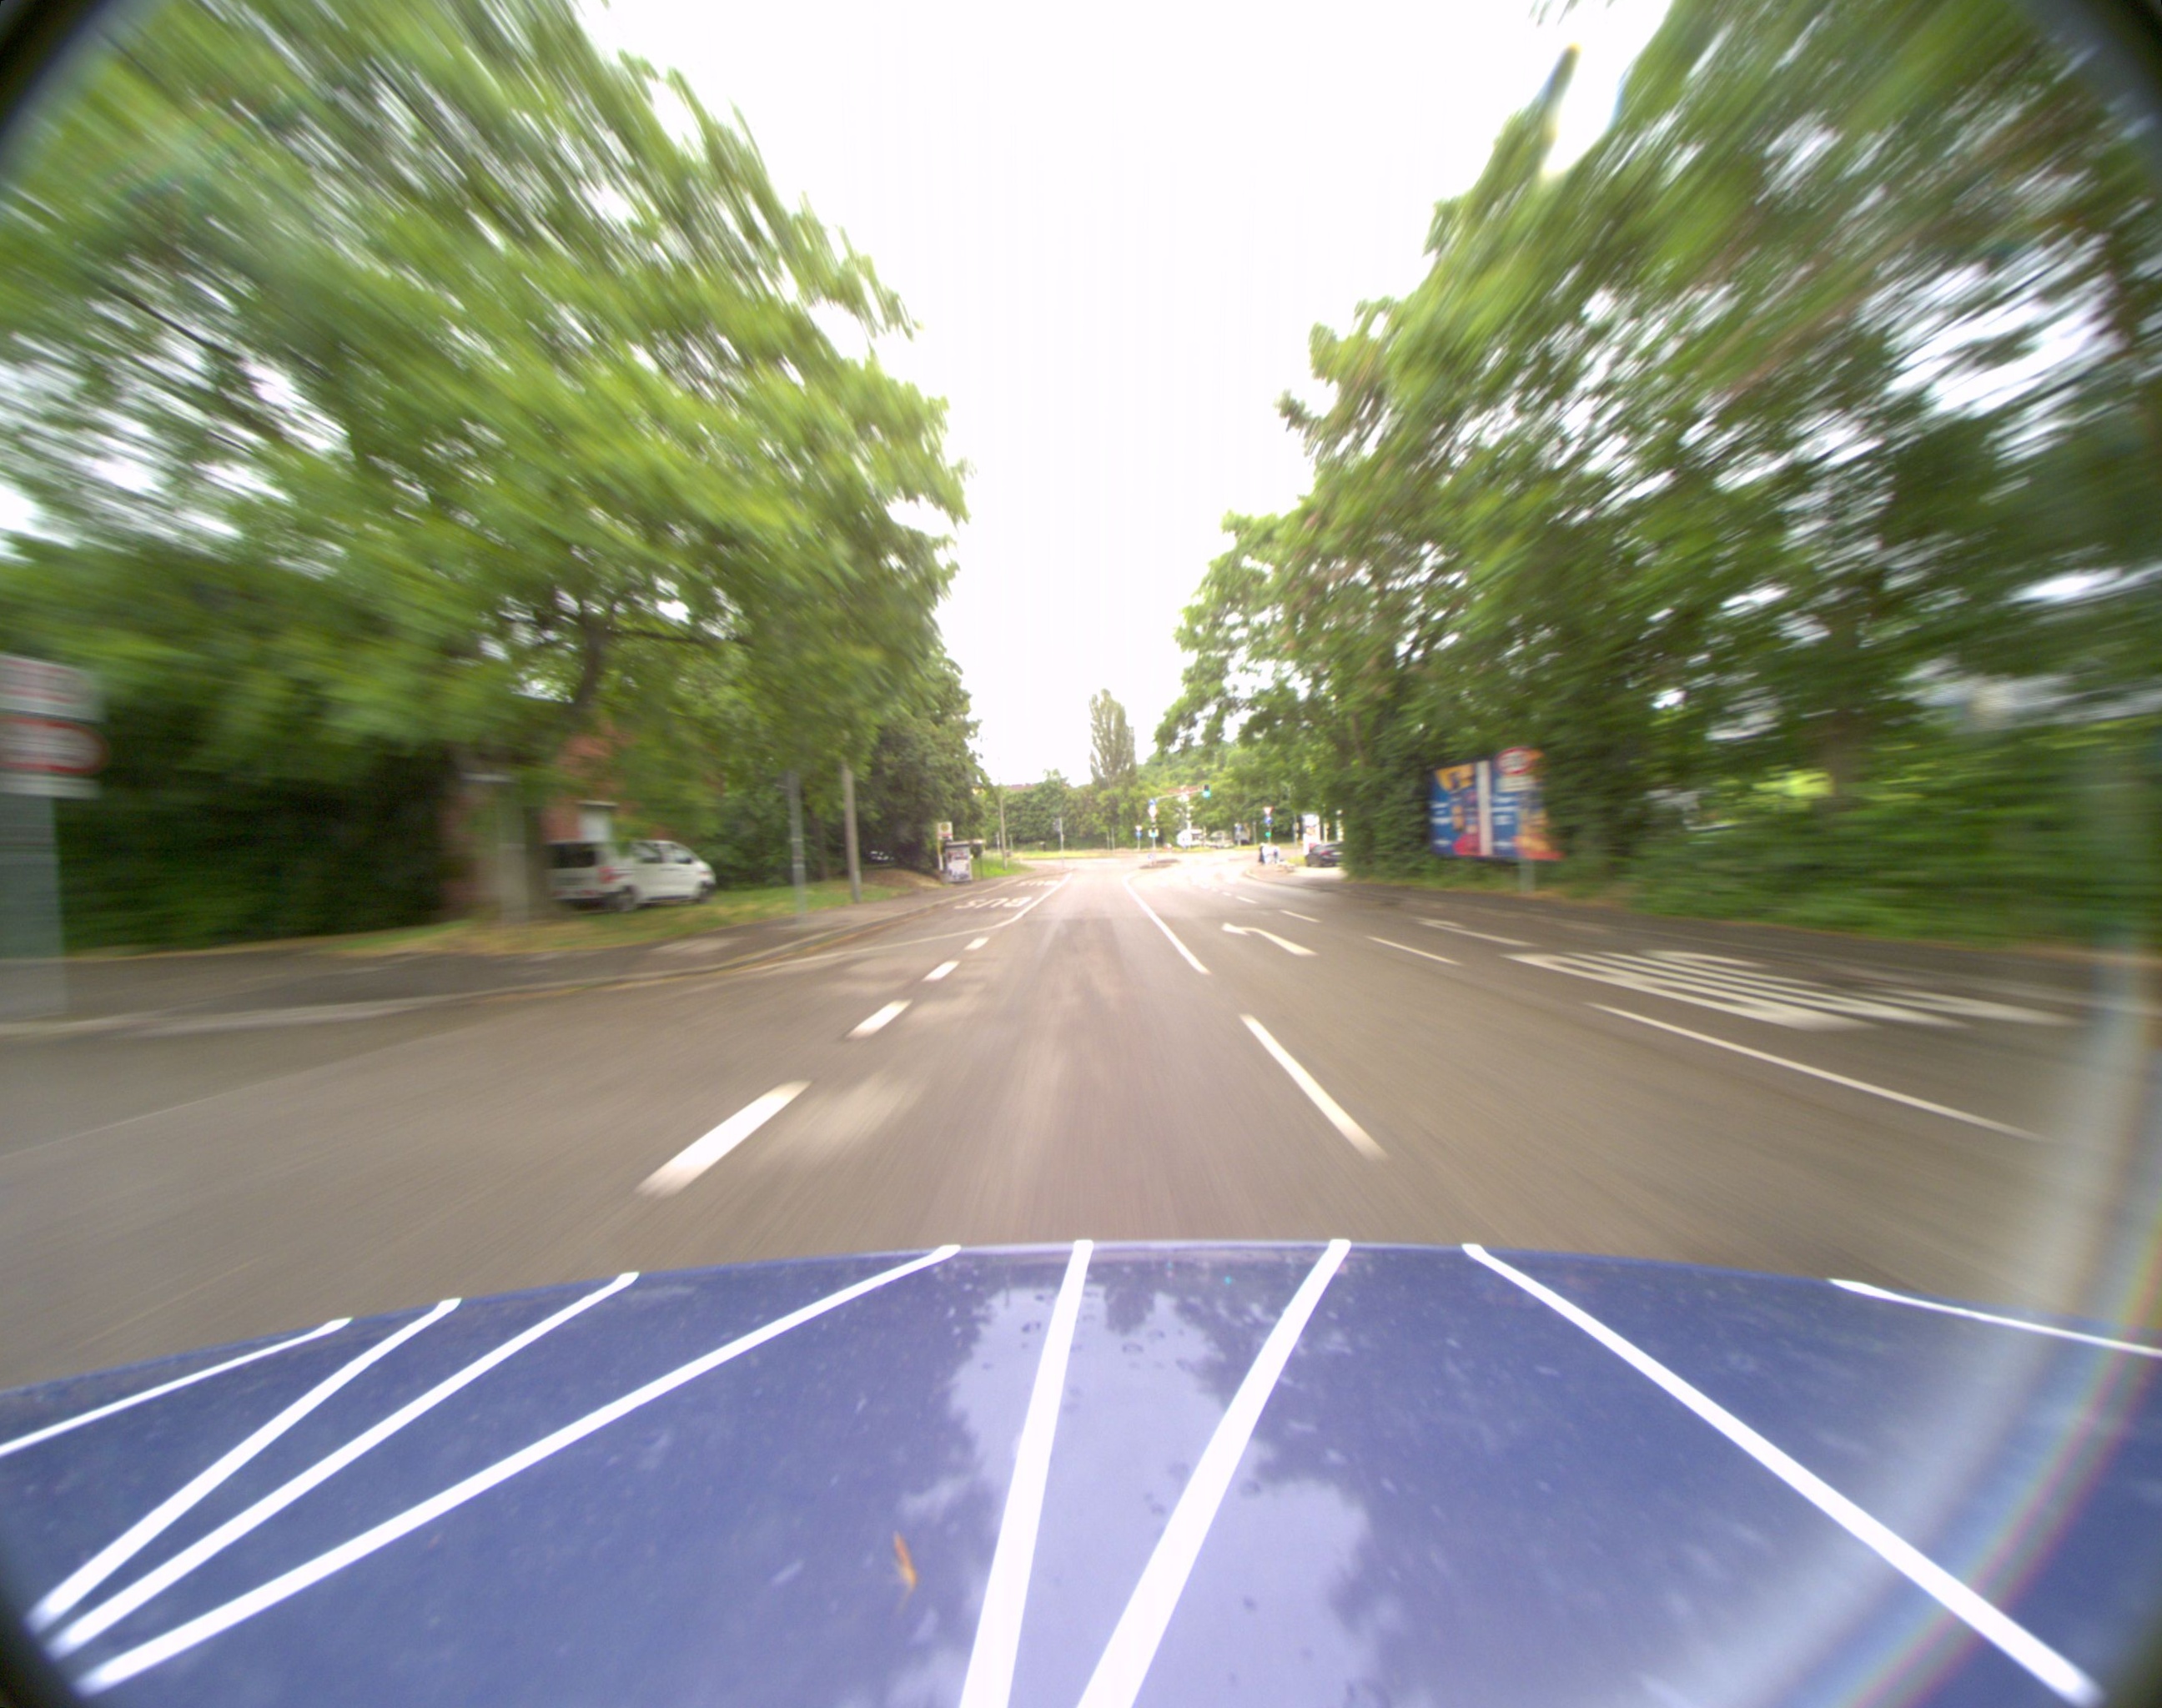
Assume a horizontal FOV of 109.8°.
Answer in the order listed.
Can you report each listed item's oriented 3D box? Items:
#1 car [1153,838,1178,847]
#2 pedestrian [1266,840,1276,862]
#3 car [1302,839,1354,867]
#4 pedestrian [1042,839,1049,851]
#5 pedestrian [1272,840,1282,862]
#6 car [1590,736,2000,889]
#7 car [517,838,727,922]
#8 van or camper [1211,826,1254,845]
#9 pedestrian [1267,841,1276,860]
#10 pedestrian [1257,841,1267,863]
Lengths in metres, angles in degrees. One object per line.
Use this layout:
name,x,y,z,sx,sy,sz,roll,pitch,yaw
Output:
car,14.037,-1.899,126.502,3.996,1.346,1.678,-3,2,4
pedestrian,14.376,-0.223,57.572,0.606,1.592,0.678,-5,0,16
car,14.551,-0.103,44.976,1.751,1.440,4.234,-5,1,3
pedestrian,-5.054,-1.233,107.376,0.682,1.597,0.810,-5,0,11
pedestrian,14.808,-0.238,57.405,0.657,1.592,0.678,-5,0,16
car,14.081,-0.650,15.550,2.116,2.518,5.595,-5,0,-27
car,-11.821,0.590,20.146,1.998,1.794,5.148,-5,0,4
van or camper,24.250,-2.931,121.659,6.424,2.739,2.431,-3,2,6
pedestrian,16.260,-0.280,64.741,0.592,1.523,0.669,-5,0,10
pedestrian,13.926,-0.175,58.456,0.657,1.592,0.678,-5,0,16
